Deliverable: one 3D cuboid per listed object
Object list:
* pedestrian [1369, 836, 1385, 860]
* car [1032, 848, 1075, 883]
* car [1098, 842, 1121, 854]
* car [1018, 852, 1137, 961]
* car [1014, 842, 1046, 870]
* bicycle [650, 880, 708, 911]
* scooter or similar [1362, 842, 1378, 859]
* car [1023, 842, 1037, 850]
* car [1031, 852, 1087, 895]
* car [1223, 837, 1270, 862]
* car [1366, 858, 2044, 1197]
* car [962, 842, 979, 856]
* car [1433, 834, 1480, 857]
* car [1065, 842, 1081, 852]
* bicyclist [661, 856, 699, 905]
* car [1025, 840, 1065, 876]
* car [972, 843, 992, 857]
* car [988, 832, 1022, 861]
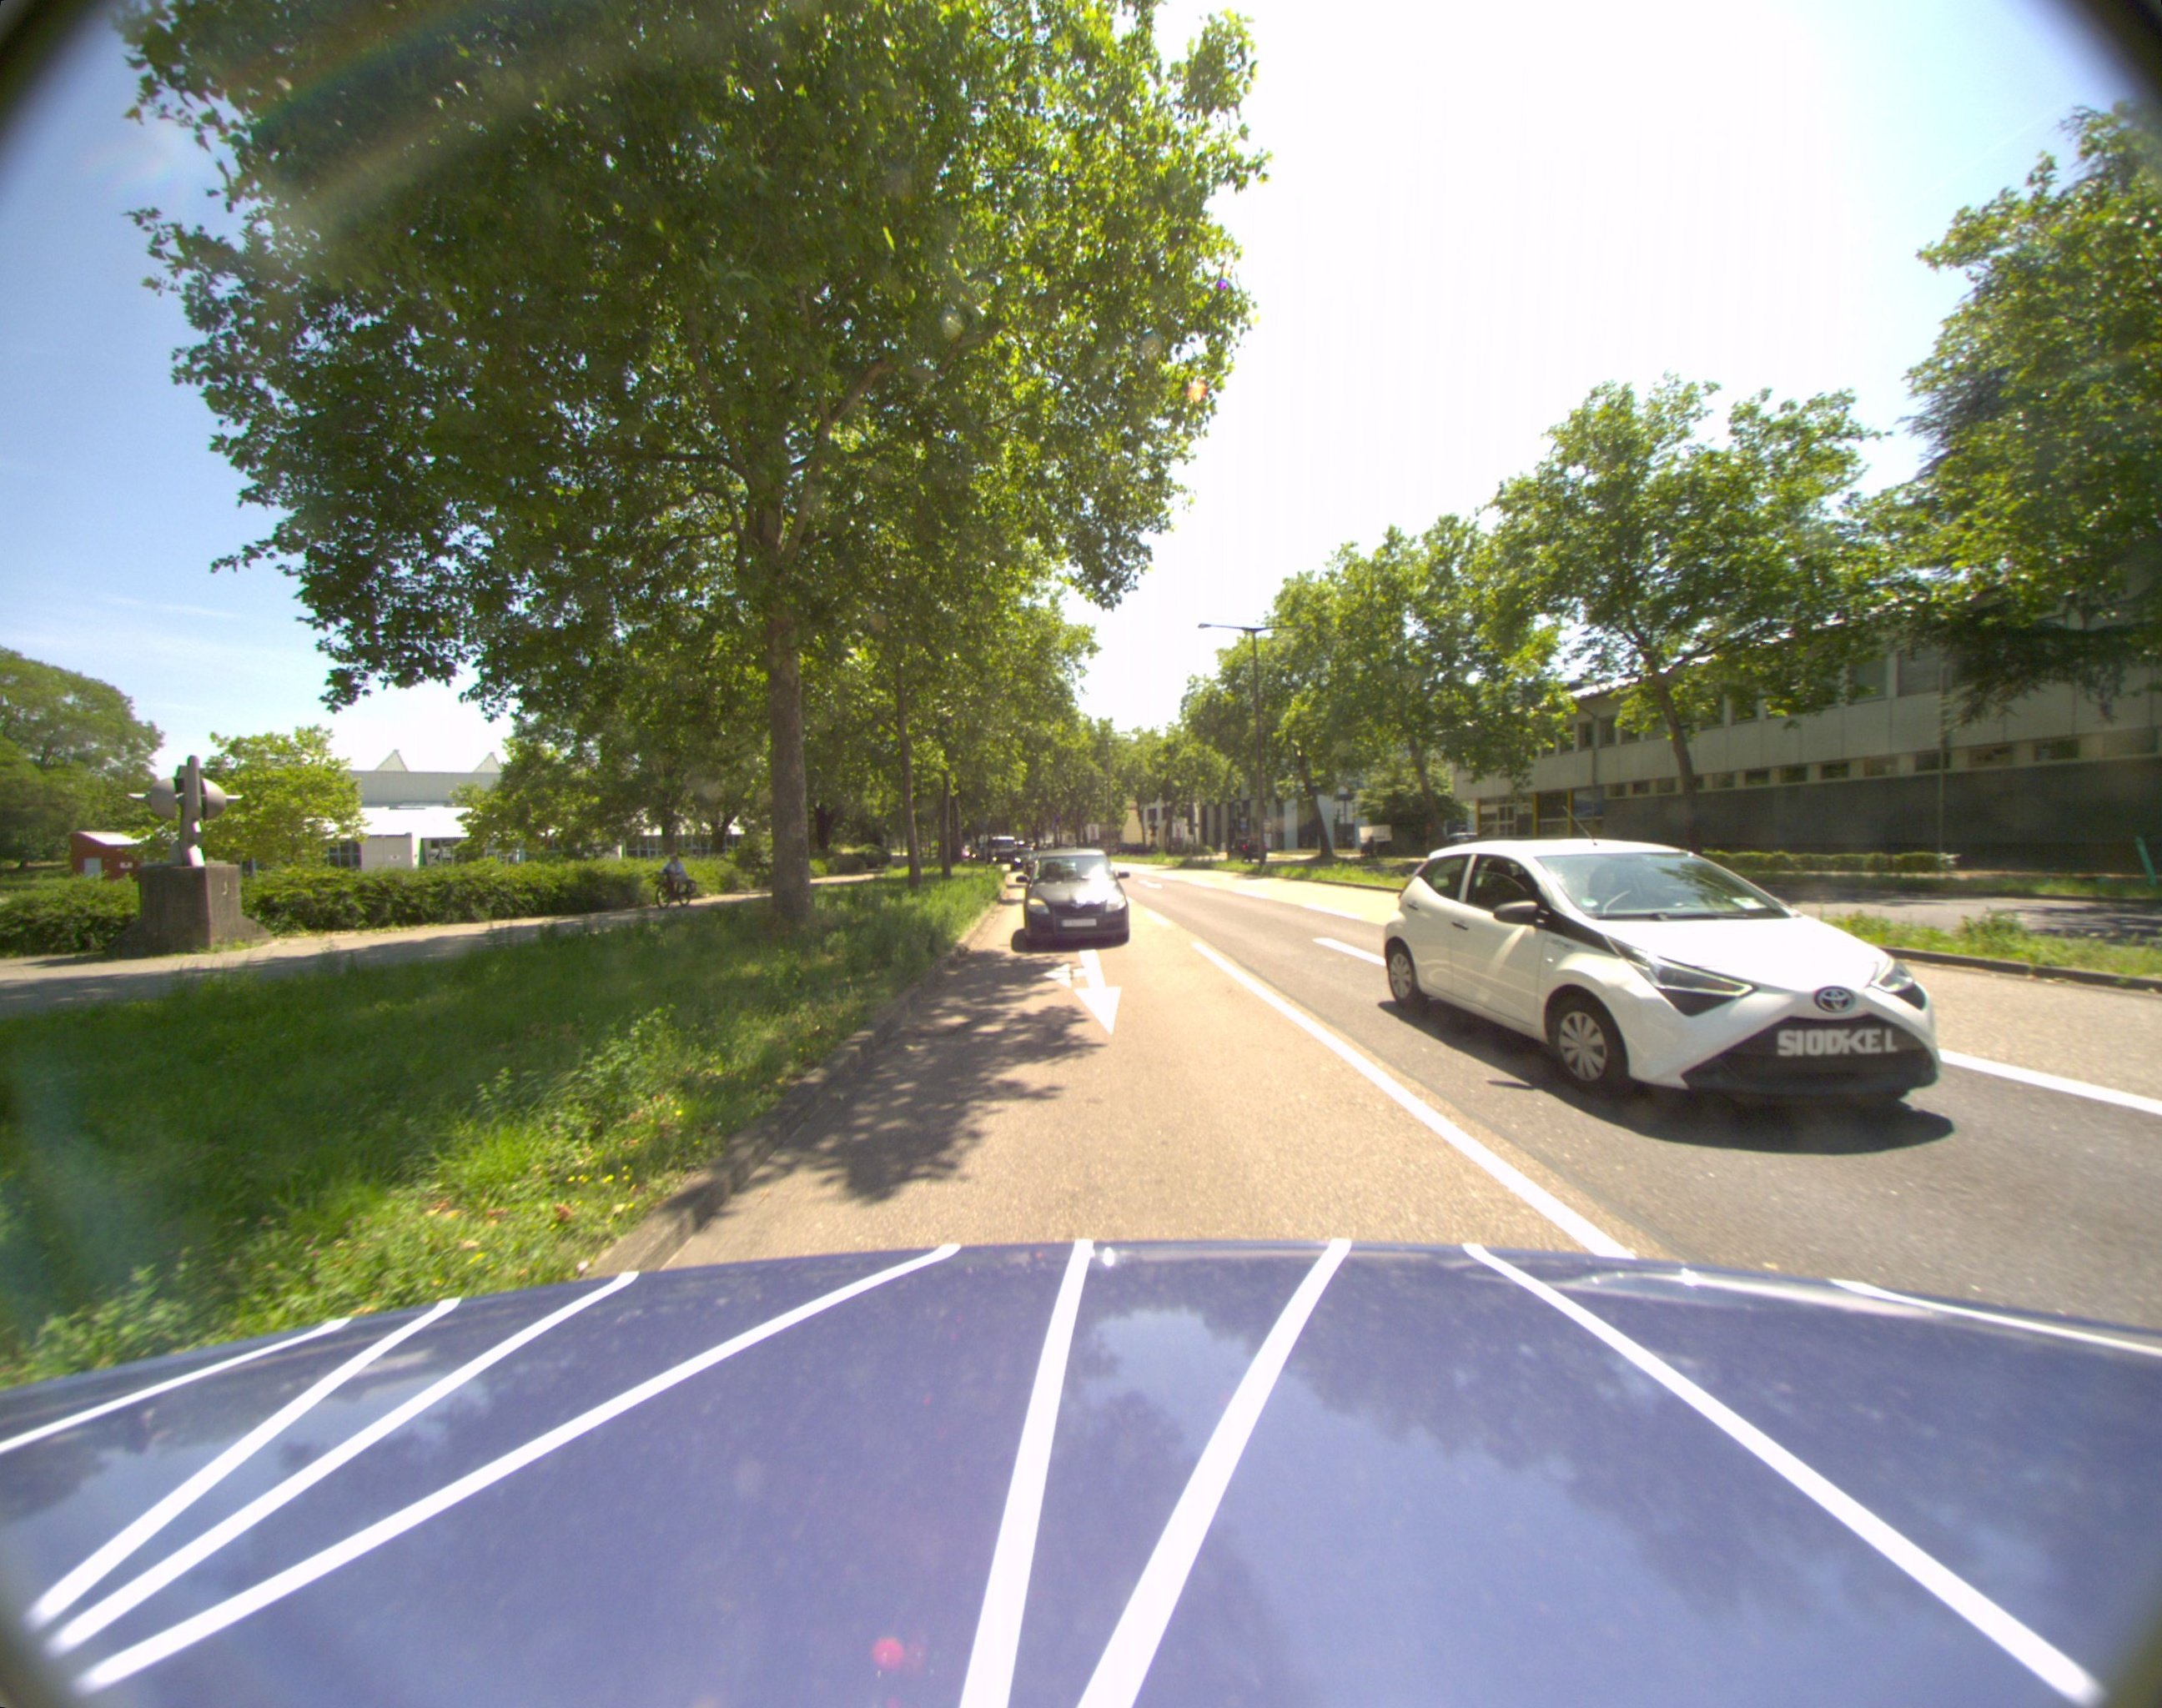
[{"bbox_3d":[19.361,-0.419,49.697,0.644,1.551,0.790,-1,1,-10],"label":"pedestrian"},{"bbox_3d":[-1.322,0.496,35.400,1.878,1.448,3.784,-1,1,-4],"label":"car"},{"bbox_3d":[3.582,-0.771,97.665,1.860,1.410,4.542,-1,1,-12],"label":"car"},{"bbox_3d":[-0.171,0.760,12.938,1.654,1.454,3.863,-3,1,-4],"label":"car"},{"bbox_3d":[-3.523,0.098,51.648,1.999,1.783,3.997,-1,1,-6],"label":"car"},{"bbox_3d":[-11.146,1.130,21.111,0.464,0.760,1.669,-1,1,11],"label":"bicycle"},{"bbox_3d":[19.226,-0.235,50.536,0.680,1.157,0.858,-1,1,-10],"label":"scooter or similar"},{"bbox_3d":[-9.482,-1.395,140.400,1.758,1.435,3.666,-2,1,-17],"label":"car"},{"bbox_3d":[-0.827,0.638,26.700,1.792,1.325,3.741,-1,1,-4],"label":"car"},{"bbox_3d":[11.782,-0.350,54.343,1.917,1.669,4.441,-2,1,-6],"label":"car"},{"bbox_3d":[3.540,0.794,5.282,1.623,1.437,3.650,-1,1,-2],"label":"car"},{"bbox_3d":[-15.452,-0.670,106.399,2.001,1.827,3.995,-1,1,-12],"label":"car"},{"bbox_3d":[29.491,-0.695,59.765,1.820,1.638,3.526,-3,1,-1],"label":"car"},{"bbox_3d":[-1.242,-0.983,114.026,1.738,1.451,3.670,-1,1,-11],"label":"car"},{"bbox_3d":[-11.148,0.723,21.127,0.600,1.331,0.666,-1,1,11],"label":"bicyclist"},{"bbox_3d":[-2.092,0.195,42.885,1.999,1.871,3.997,-1,1,-6],"label":"car"},{"bbox_3d":[-12.071,-0.464,92.561,2.000,1.609,3.995,-1,1,-12],"label":"car"},{"bbox_3d":[-7.352,-0.759,73.107,2.920,2.639,6.360,-1,1,-8],"label":"car"}]
